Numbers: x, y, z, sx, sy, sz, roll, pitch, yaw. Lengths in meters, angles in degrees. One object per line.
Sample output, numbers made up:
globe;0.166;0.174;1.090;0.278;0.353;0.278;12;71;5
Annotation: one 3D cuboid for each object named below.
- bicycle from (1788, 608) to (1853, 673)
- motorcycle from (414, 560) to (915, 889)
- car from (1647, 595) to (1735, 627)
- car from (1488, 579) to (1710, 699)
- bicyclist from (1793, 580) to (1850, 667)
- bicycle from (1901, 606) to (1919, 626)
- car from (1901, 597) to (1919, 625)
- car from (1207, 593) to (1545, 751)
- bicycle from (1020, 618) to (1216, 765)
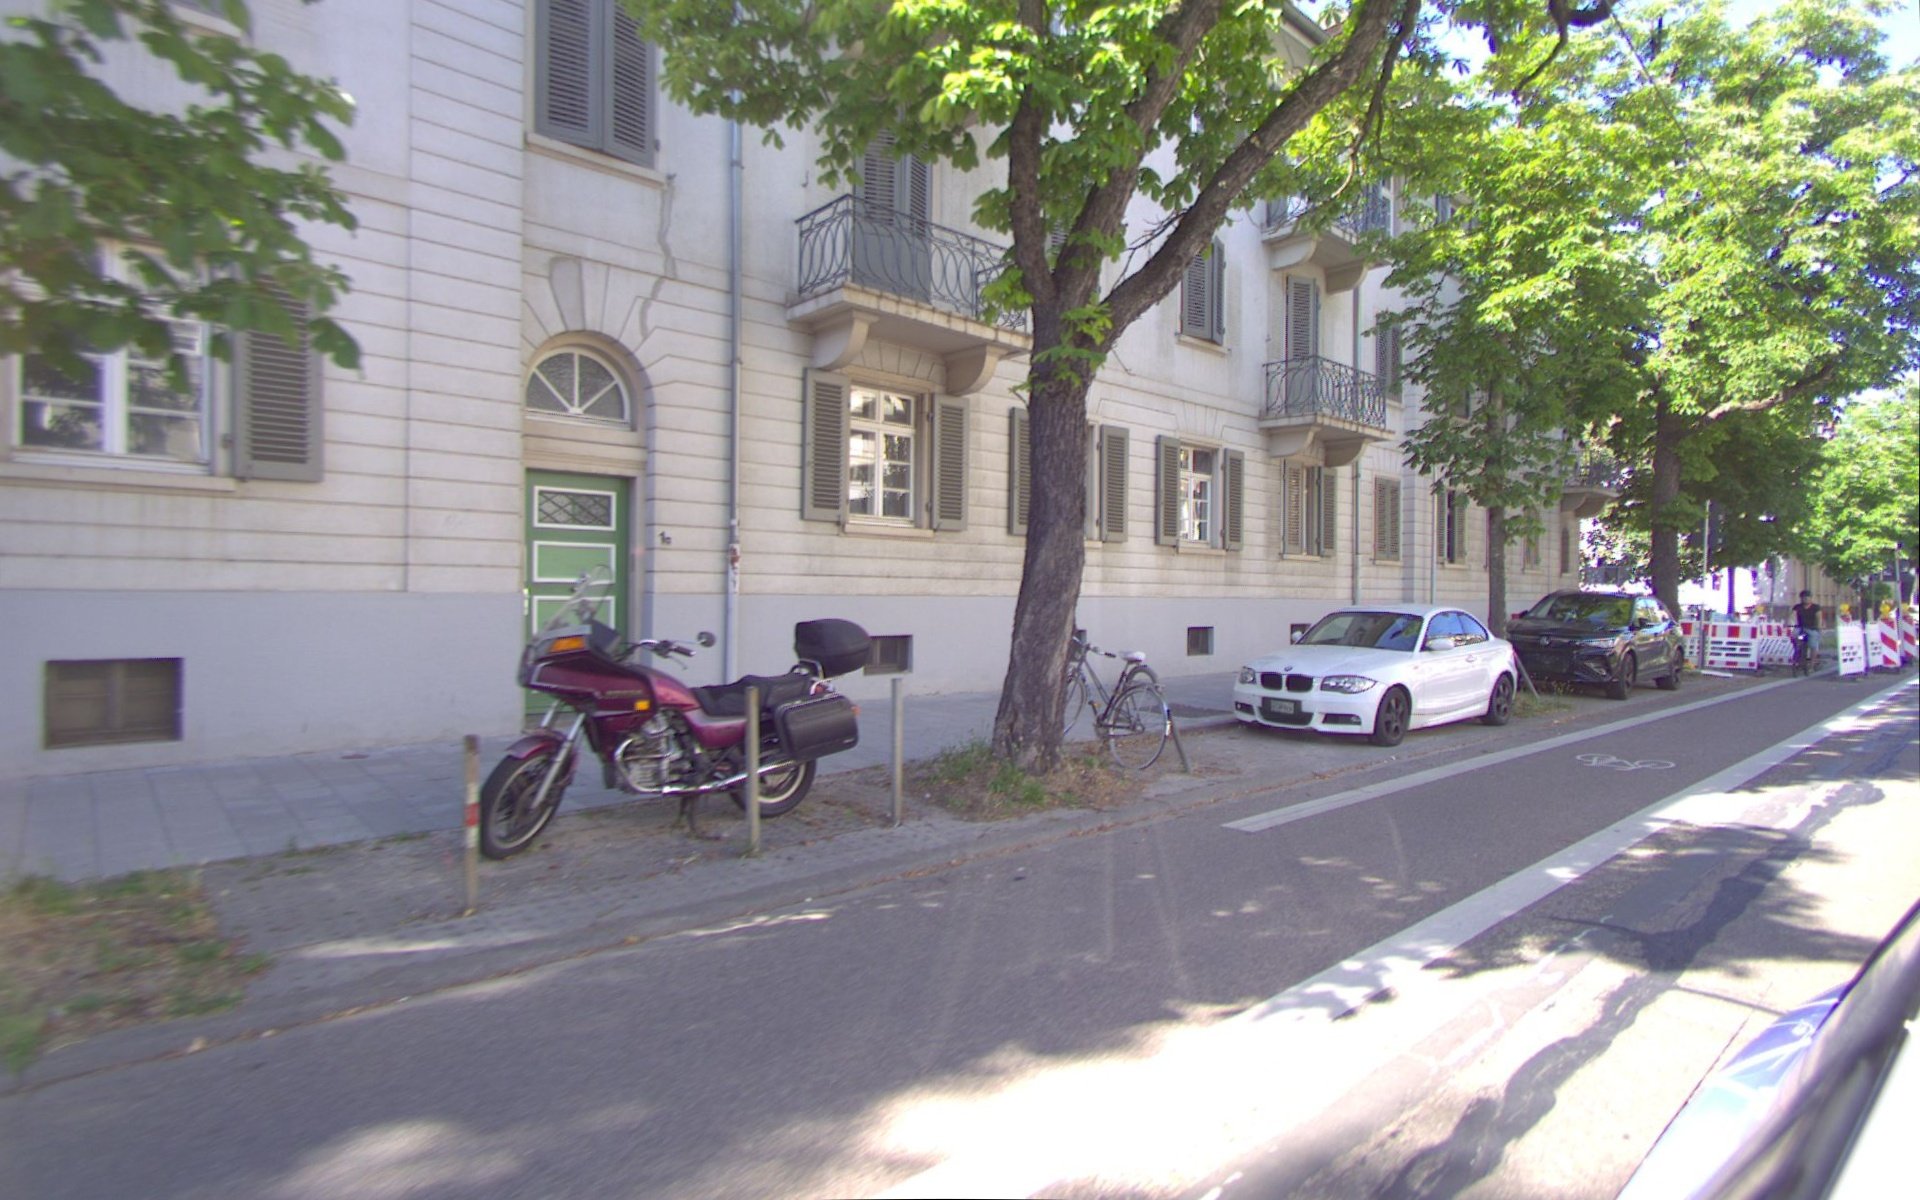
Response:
bicycle;17.921;0.813;21.051;2.060;1.258;0.762;0;-1;-42
motorcycle;-1.588;0.557;5.860;2.632;1.507;0.915;0;2;-41
car;38.798;0.540;53.791;1.687;1.557;3.447;-3;1;-14
car;10.510;0.542;16.508;4.504;1.646;1.814;0;3;-41
bicyclist;17.927;0.472;21.062;1.029;1.761;0.762;0;-1;-42
bicycle;49.641;0.860;52.217;1.563;0.992;0.631;2;1;40
car;53.329;0.602;55.791;4.141;1.490;1.704;0;1;-42
car;4.792;0.663;11.376;4.279;1.399;1.727;0;2;-40
bicycle;1.330;0.736;8.778;0.673;1.056;1.623;0;2;-40
